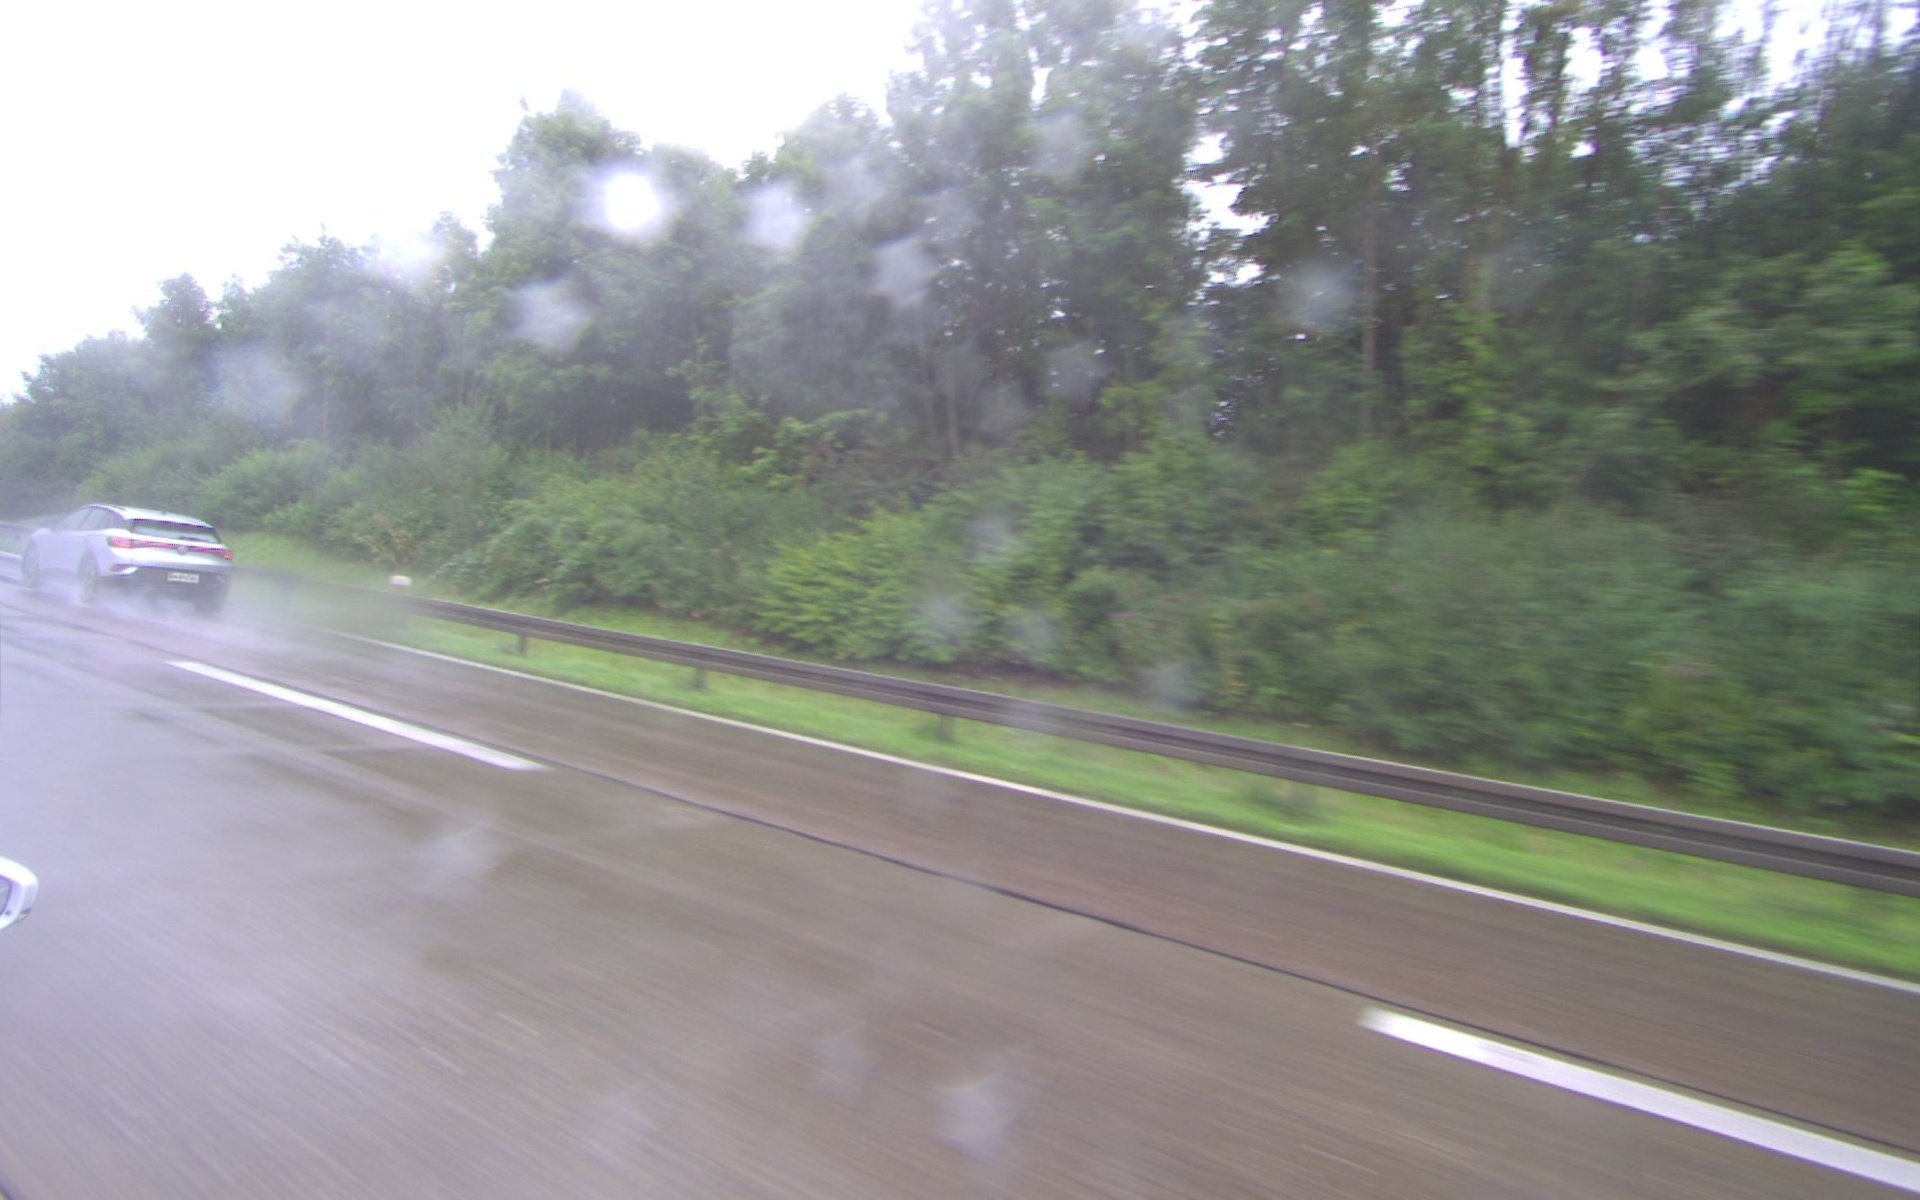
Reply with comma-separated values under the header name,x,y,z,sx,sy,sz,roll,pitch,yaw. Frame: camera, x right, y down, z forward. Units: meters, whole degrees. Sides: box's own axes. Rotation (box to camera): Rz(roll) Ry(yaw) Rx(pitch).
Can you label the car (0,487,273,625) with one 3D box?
name,x,y,z,sx,sy,sz,roll,pitch,yaw
car,-14.395,-0.803,17.374,5.569,1.771,1.997,6,-2,32
